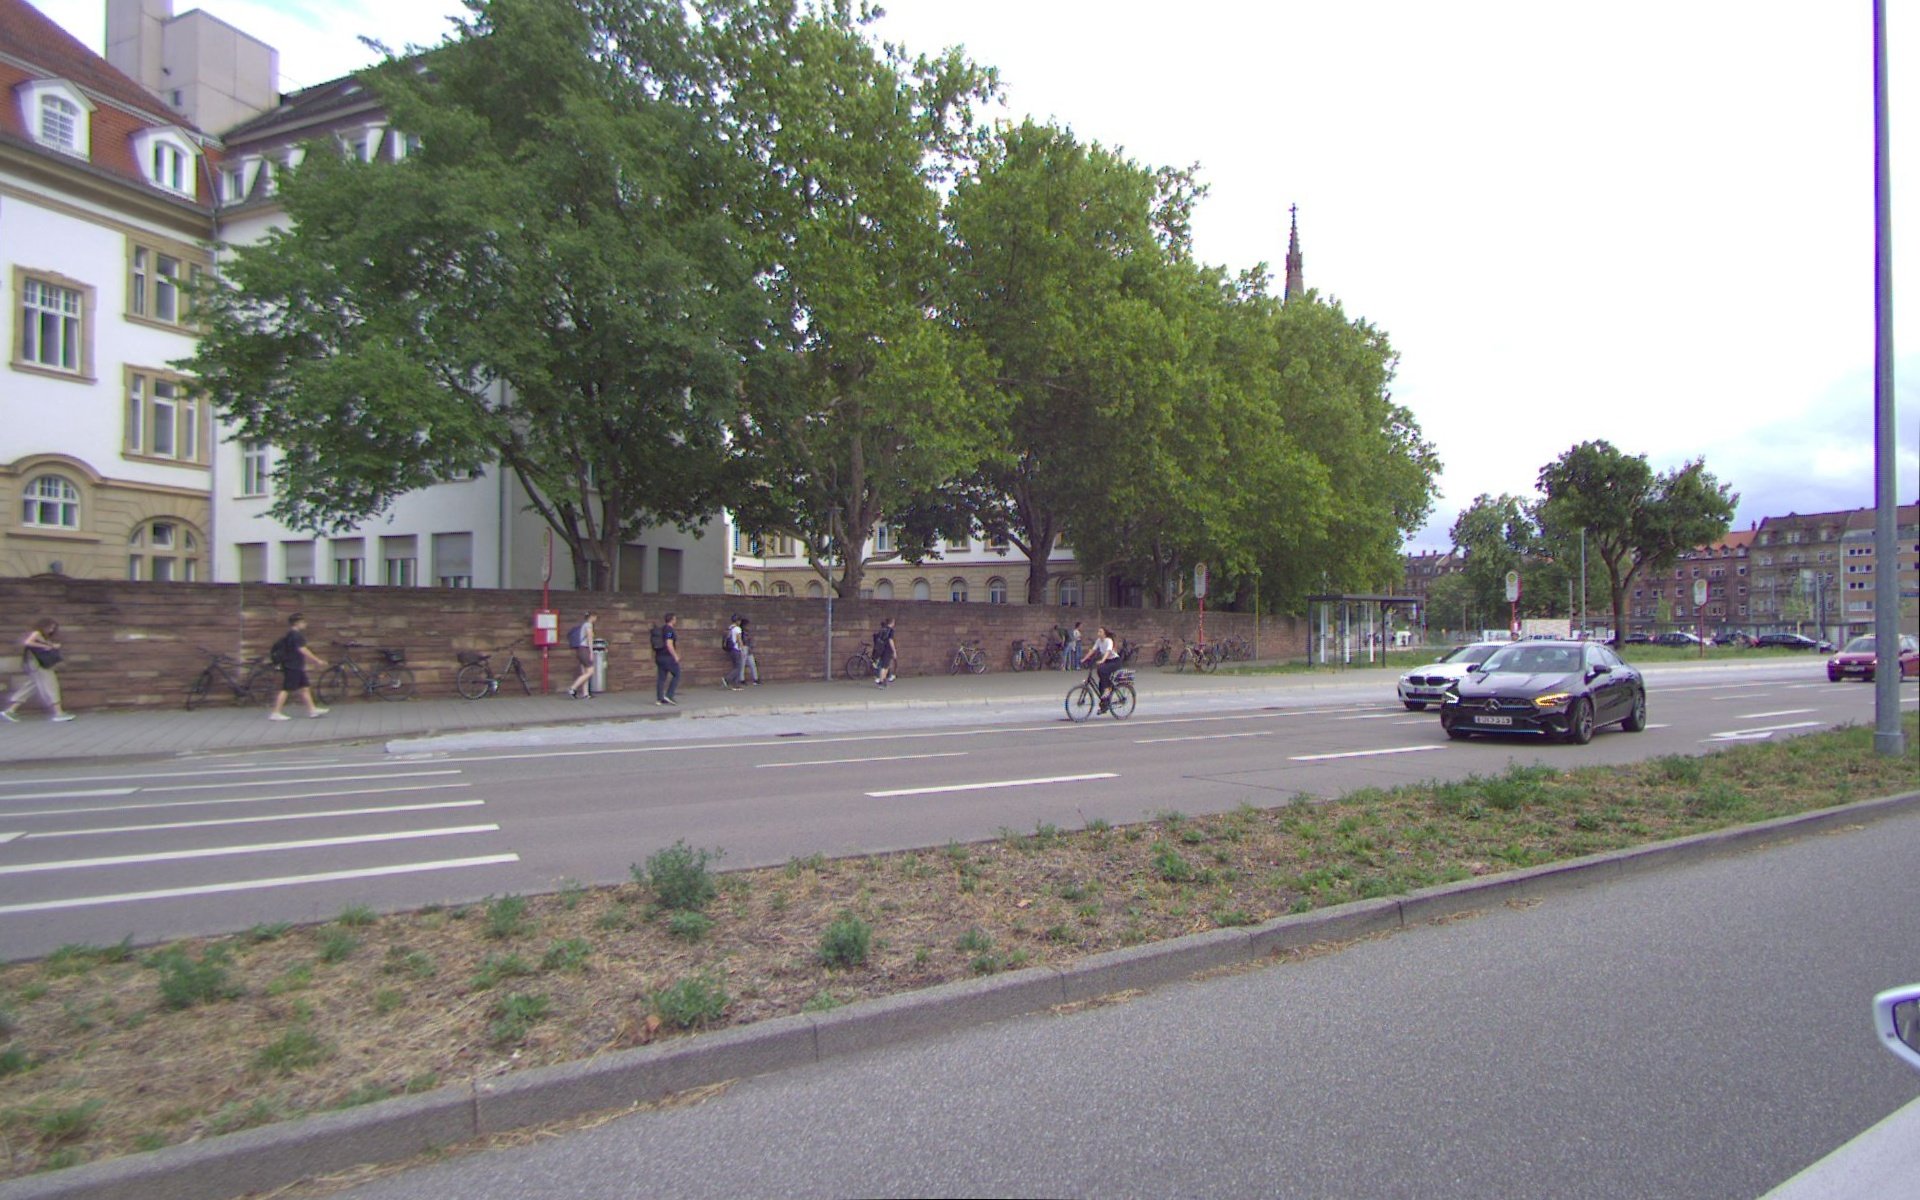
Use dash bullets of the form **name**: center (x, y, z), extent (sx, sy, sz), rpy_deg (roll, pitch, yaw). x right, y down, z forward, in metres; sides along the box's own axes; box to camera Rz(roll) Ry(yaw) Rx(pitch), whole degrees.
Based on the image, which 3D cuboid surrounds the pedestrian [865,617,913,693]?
- **pedestrian**: center (-1.729, 1.324, 24.524), extent (0.748, 1.805, 0.922), rpy_deg (0, -2, 31)

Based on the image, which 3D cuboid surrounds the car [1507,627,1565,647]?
- **car**: center (50.582, 3.242, 88.330), extent (1.631, 1.671, 4.126), rpy_deg (1, -2, -36)

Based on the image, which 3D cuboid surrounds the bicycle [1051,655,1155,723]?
- **bicycle**: center (2.786, 1.712, 19.573), extent (2.017, 1.233, 0.616), rpy_deg (1, -2, -26)

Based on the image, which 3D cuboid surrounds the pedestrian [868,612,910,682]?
- **pedestrian**: center (-1.877, 1.236, 26.585), extent (0.748, 1.805, 0.782), rpy_deg (0, -2, 31)

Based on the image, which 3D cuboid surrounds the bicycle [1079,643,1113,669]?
- **bicycle**: center (4.893, 2.016, 36.147), extent (0.435, 0.890, 1.614), rpy_deg (2, 0, 38)

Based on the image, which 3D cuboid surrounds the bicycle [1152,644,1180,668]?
- **bicycle**: center (8.352, 2.252, 40.668), extent (0.474, 0.919, 1.615), rpy_deg (-1, -2, 36)

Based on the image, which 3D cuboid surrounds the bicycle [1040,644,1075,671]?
- **bicycle**: center (3.328, 1.958, 34.348), extent (0.343, 0.890, 1.514), rpy_deg (2, 0, 42)

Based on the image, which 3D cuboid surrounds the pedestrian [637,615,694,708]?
- **pedestrian**: center (-5.835, 1.204, 19.899), extent (0.749, 1.805, 0.719), rpy_deg (0, -3, 36)

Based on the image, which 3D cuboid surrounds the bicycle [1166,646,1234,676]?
- **bicycle**: center (7.664, 1.935, 32.039), extent (2.306, 0.931, 0.469), rpy_deg (1, -1, -23)

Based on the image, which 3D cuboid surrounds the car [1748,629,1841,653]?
- **car**: center (57.209, 2.802, 68.959), extent (1.644, 1.495, 4.639), rpy_deg (1, 0, -35)

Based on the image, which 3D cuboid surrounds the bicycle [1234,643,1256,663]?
- **bicycle**: center (13.590, 2.513, 47.906), extent (0.474, 0.919, 1.615), rpy_deg (2, 0, 35)

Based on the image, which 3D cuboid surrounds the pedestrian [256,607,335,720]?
- **pedestrian**: center (-10.966, 1.040, 16.588), extent (0.748, 1.805, 0.782), rpy_deg (0, -2, 31)

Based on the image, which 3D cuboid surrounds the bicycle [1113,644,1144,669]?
- **bicycle**: center (6.394, 2.135, 38.019), extent (0.435, 0.890, 1.614), rpy_deg (2, 0, 38)

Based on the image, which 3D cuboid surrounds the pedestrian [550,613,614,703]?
- **pedestrian**: center (-7.809, 1.193, 20.771), extent (0.748, 1.805, 0.913), rpy_deg (0, -2, 31)

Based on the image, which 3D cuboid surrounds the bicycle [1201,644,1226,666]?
- **bicycle**: center (11.224, 2.419, 44.447), extent (0.474, 0.919, 1.615), rpy_deg (2, 0, 35)

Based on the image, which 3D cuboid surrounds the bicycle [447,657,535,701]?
- **bicycle**: center (-9.816, 1.641, 21.058), extent (1.607, 0.807, 0.437), rpy_deg (0, 1, -40)

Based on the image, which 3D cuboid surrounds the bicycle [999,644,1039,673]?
- **bicycle**: center (1.948, 1.898, 32.836), extent (0.411, 0.890, 1.547), rpy_deg (2, 0, 42)

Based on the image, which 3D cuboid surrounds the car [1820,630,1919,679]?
- **car**: center (30.040, 1.739, 32.815), extent (4.241, 1.509, 1.792), rpy_deg (1, -2, -32)

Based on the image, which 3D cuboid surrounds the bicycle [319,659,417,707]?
- **bicycle**: center (-11.533, 1.603, 19.608), extent (1.607, 0.807, 0.437), rpy_deg (0, 1, -40)

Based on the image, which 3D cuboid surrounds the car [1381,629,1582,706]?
- **car**: center (11.235, 1.369, 21.583), extent (4.364, 1.509, 1.793), rpy_deg (1, -2, -30)

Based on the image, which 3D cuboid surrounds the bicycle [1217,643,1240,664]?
- **bicycle**: center (12.392, 2.468, 46.304), extent (0.474, 0.919, 1.615), rpy_deg (2, 0, 35)

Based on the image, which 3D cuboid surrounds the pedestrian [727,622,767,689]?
- **pedestrian**: center (-5.290, 1.372, 24.939), extent (0.578, 1.613, 0.733), rpy_deg (0, -3, 37)

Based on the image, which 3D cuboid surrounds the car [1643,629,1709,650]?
- **car**: center (53.240, 2.913, 74.739), extent (1.569, 1.413, 3.739), rpy_deg (1, 0, -35)

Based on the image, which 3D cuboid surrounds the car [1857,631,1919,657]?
- **car**: center (60.316, 2.817, 64.449), extent (1.644, 1.537, 3.831), rpy_deg (1, -1, -35)

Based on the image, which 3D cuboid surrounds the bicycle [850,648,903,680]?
- **bicycle**: center (-2.320, 1.792, 28.160), extent (0.436, 0.838, 1.612), rpy_deg (2, 0, 42)

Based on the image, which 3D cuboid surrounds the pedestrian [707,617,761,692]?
- **pedestrian**: center (-5.223, 1.257, 23.279), extent (0.748, 1.693, 0.922), rpy_deg (0, -2, 31)

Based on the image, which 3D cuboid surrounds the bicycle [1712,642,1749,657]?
- **bicycle**: center (53.374, 3.400, 69.590), extent (0.625, 0.995, 1.952), rpy_deg (1, -2, -35)

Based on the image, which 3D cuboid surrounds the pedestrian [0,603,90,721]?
- **pedestrian**: center (-14.513, 0.975, 15.947), extent (0.747, 1.805, 0.783), rpy_deg (0, -2, 28)

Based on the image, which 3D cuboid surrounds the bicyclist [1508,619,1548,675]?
- **bicyclist**: center (14.982, 1.228, 26.482), extent (0.801, 1.437, 0.577), rpy_deg (1, -2, -30)

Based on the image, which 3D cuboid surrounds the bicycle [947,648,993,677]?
- **bicycle**: center (0.315, 1.907, 31.014), extent (0.436, 0.838, 1.612), rpy_deg (2, 0, 42)

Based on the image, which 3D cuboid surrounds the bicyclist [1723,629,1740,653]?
- **bicyclist**: center (53.416, 2.827, 69.568), extent (0.567, 1.665, 0.781), rpy_deg (1, -2, -35)

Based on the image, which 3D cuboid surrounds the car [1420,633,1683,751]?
- **car**: center (8.951, 1.265, 15.083), extent (4.362, 1.509, 1.790), rpy_deg (1, -2, -35)

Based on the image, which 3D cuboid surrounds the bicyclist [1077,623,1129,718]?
- **bicyclist**: center (2.778, 1.346, 19.557), extent (0.800, 1.806, 0.616), rpy_deg (1, -1, -26)
